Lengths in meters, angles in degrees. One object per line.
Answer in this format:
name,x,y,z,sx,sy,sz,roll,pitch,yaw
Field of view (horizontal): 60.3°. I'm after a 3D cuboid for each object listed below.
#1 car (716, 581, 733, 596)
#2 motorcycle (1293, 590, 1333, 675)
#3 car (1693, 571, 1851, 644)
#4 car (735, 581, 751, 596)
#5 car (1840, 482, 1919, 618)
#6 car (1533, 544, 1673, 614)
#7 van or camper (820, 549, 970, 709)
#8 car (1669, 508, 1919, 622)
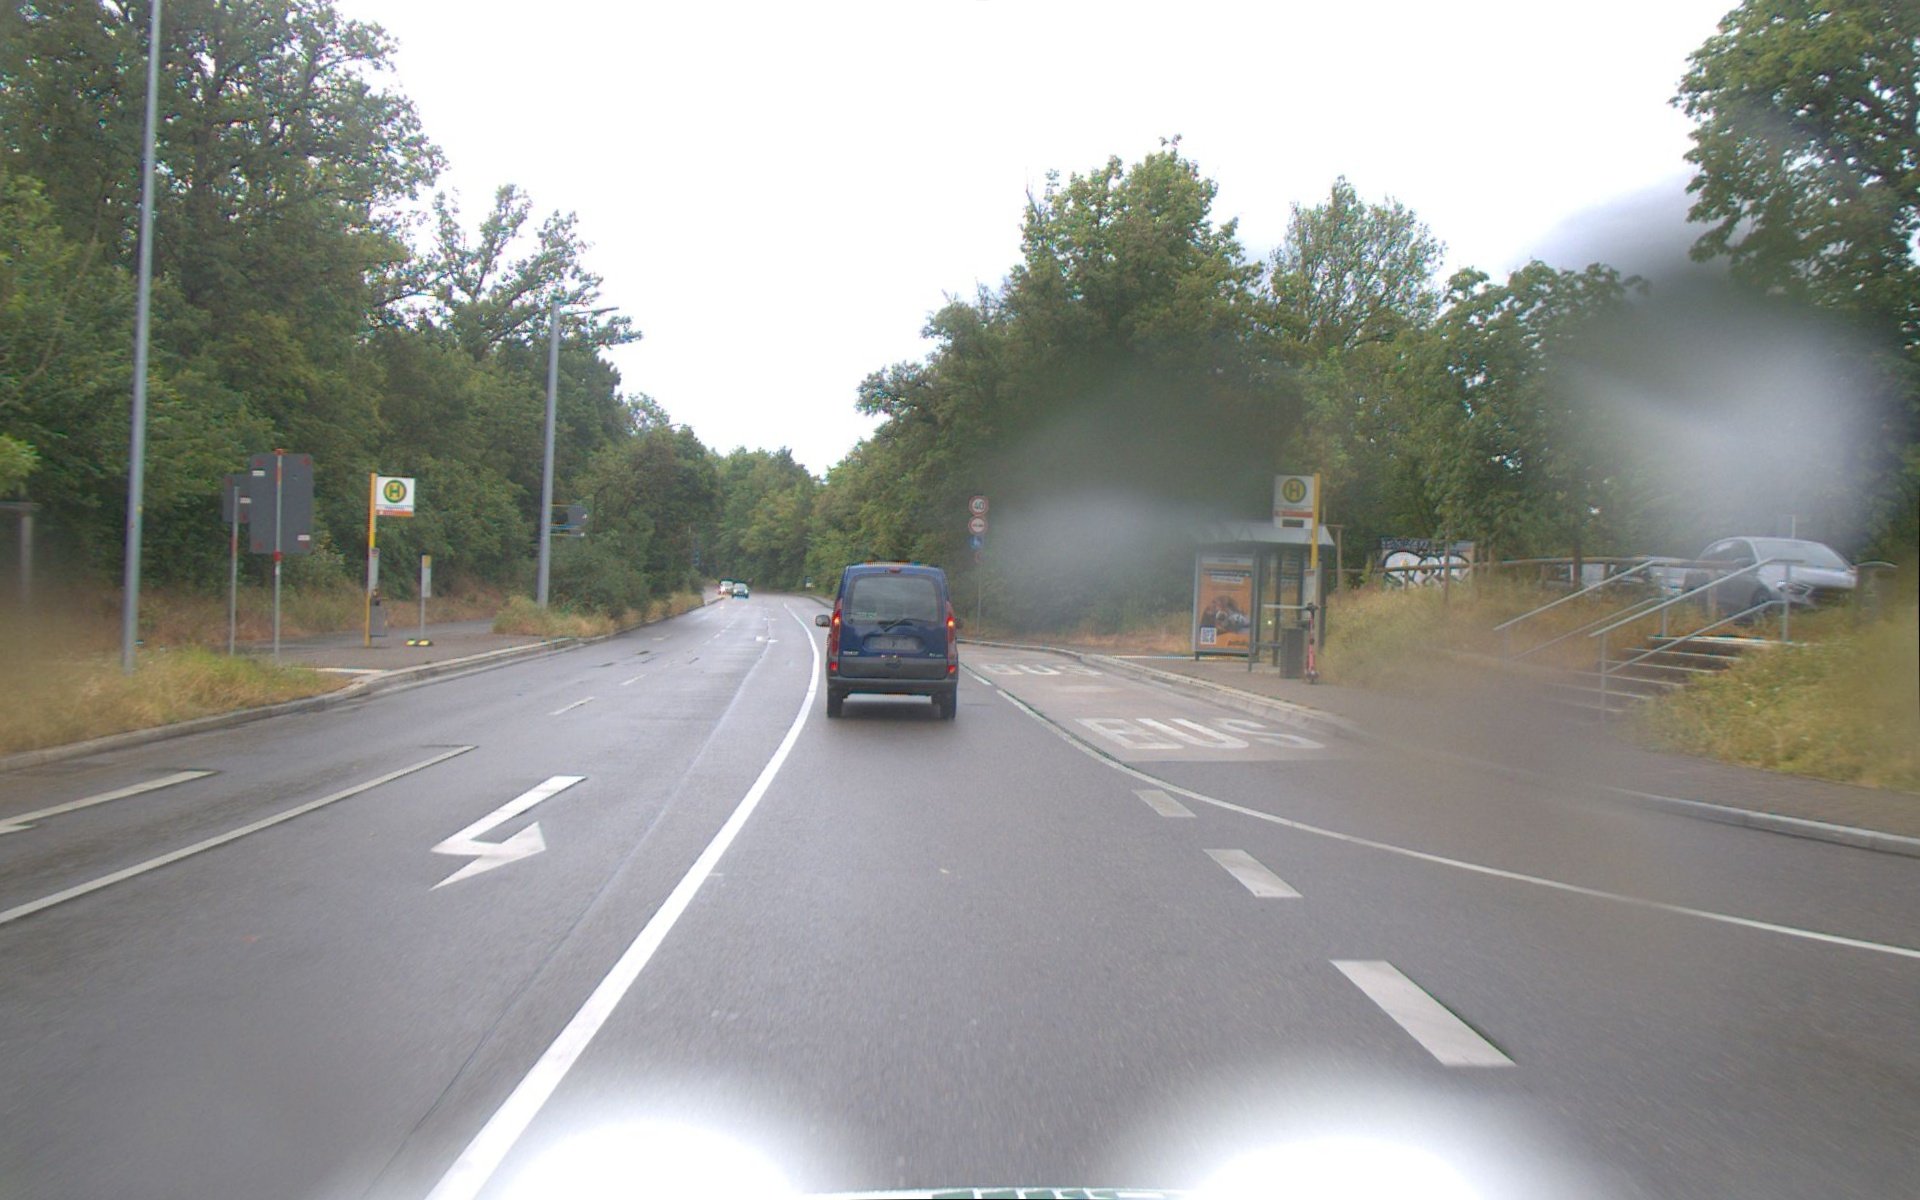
car,-27.405,-1.329,192.756,1.738,1.638,4.078,2,0,-7
motorcycle,5.720,0.514,26.881,0.576,1.311,1.539,2,0,11
car,19.266,0.195,39.446,1.846,1.505,4.070,4,-1,3
car,-22.264,-1.216,169.553,1.568,1.466,3.984,1,0,-7
car,13.272,-0.581,20.897,1.954,1.690,3.999,5,0,-2
car,16.405,-0.494,42.479,1.846,1.505,4.783,4,-1,3
van or camper,-0.925,0.336,21.278,1.679,1.858,3.995,0,0,-6
car,13.171,-0.488,26.075,1.954,1.505,4.282,4,-1,-2
